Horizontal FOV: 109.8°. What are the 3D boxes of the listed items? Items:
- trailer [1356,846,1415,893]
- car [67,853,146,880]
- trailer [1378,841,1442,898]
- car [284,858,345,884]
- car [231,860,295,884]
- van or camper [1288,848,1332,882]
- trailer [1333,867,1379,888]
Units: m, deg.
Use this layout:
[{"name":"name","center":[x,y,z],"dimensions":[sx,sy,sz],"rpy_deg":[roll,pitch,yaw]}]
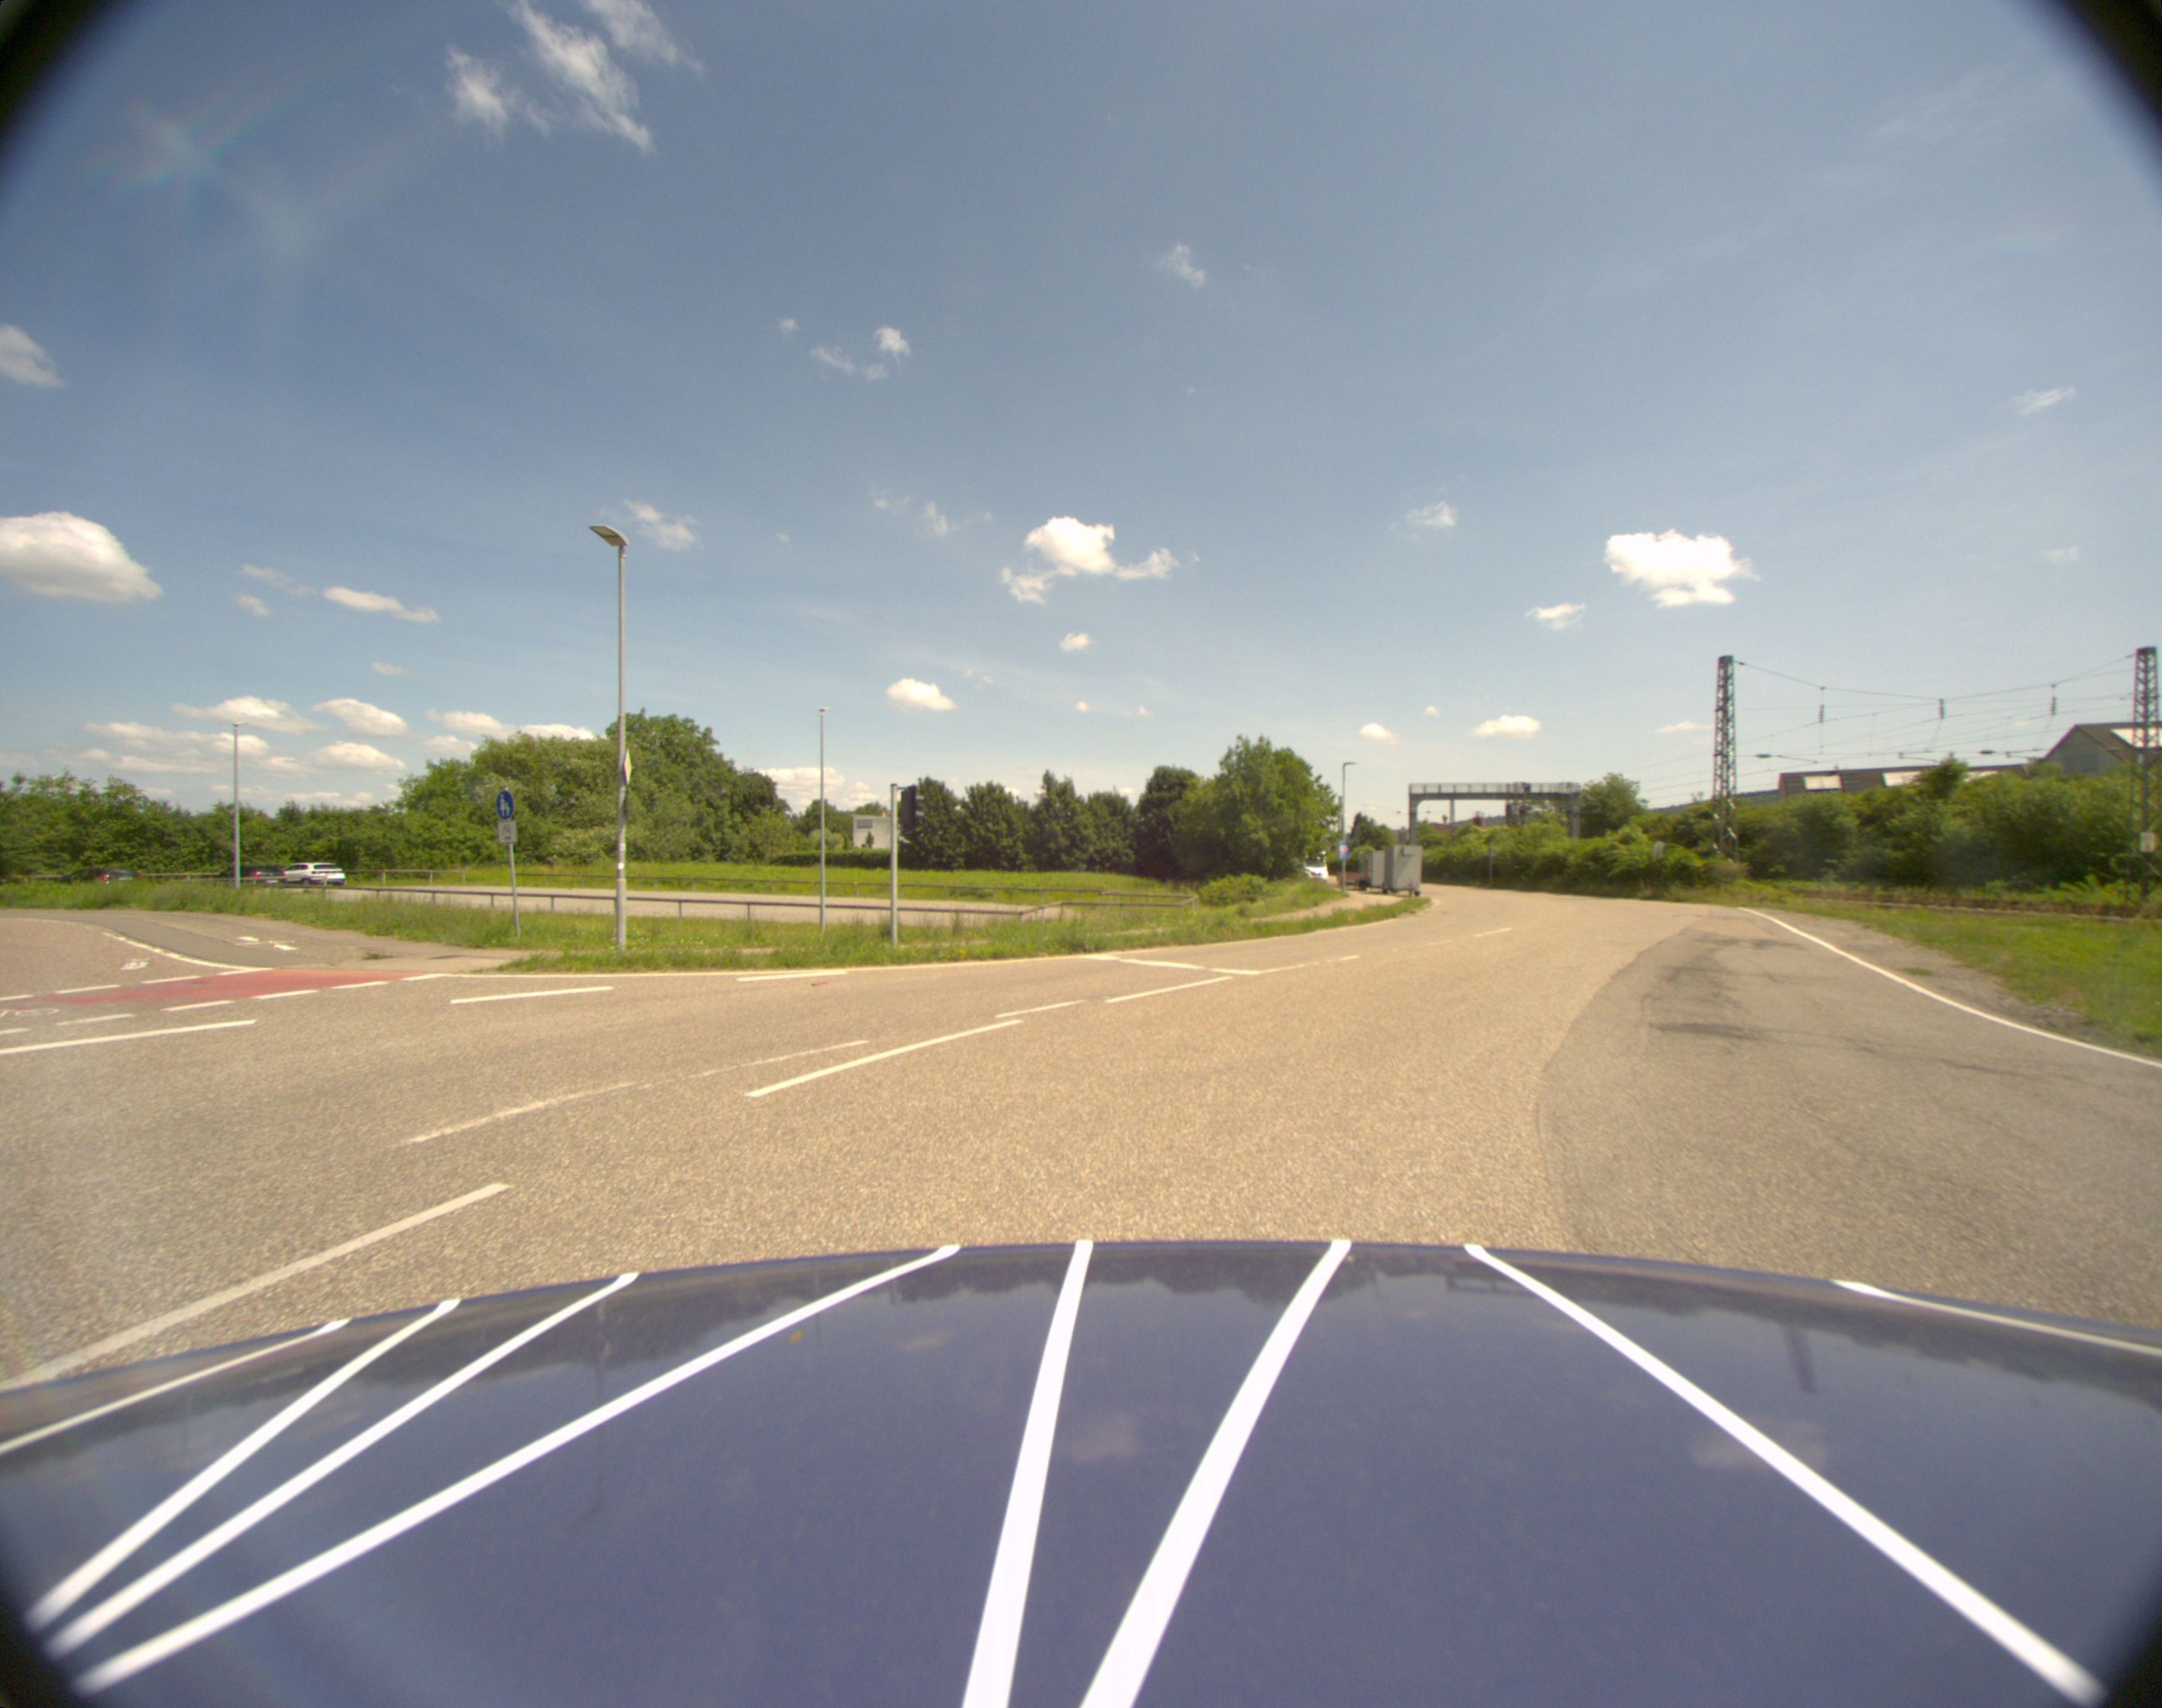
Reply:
[{"name":"trailer","center":[17.582,0.878,44.150],"dimensions":[1.922,2.493,4.744],"rpy_deg":[3,0,7]},{"name":"car","center":[-50.542,0.656,39.421],"dimensions":[3.112,1.330,1.420],"rpy_deg":[-1,0,15]},{"name":"trailer","center":[16.810,0.762,39.033],"dimensions":[1.935,2.629,5.189],"rpy_deg":[3,0,12]},{"name":"car","center":[-47.887,1.061,47.471],"dimensions":[3.111,1.496,1.420],"rpy_deg":[-1,0,18]},{"name":"car","center":[-48.274,1.044,44.843],"dimensions":[3.111,1.330,1.420],"rpy_deg":[-1,0,19]},{"name":"van or camper","center":[20.435,0.942,68.225],"dimensions":[2.444,2.810,7.627],"rpy_deg":[2,0,7]},{"name":"trailer","center":[17.999,1.518,49.884],"dimensions":[2.008,1.116,4.492],"rpy_deg":[3,1,9]}]
